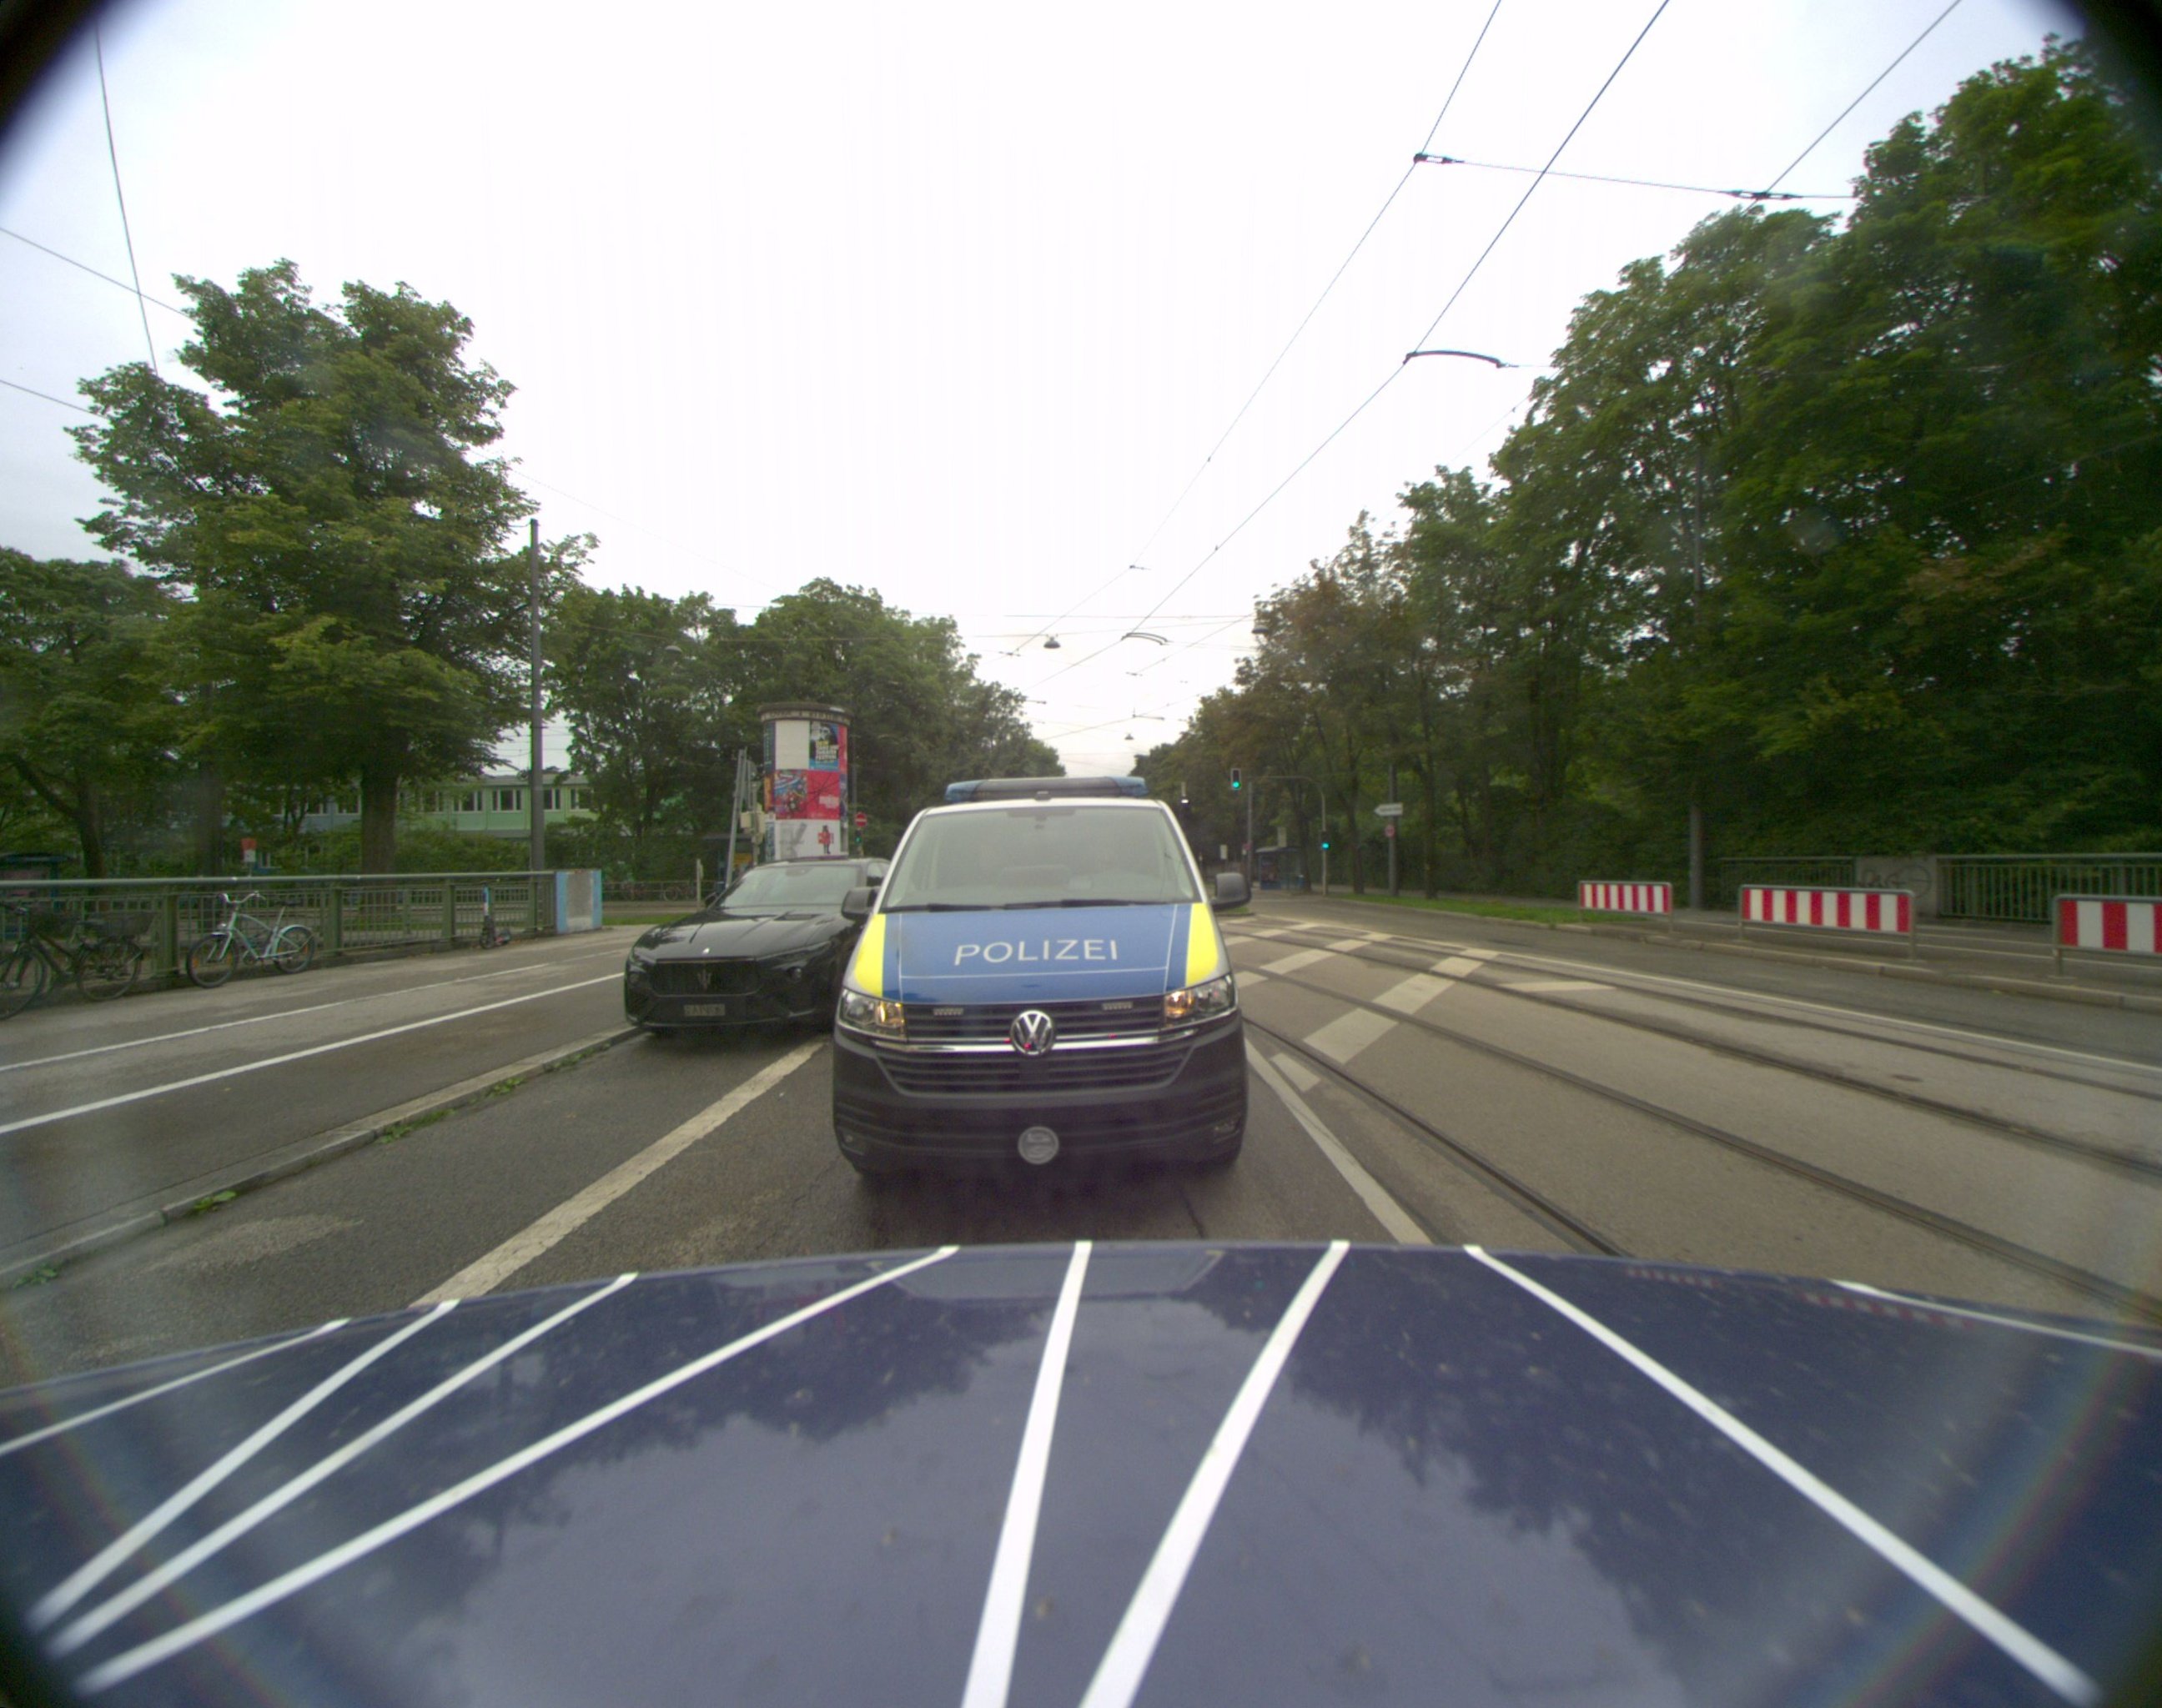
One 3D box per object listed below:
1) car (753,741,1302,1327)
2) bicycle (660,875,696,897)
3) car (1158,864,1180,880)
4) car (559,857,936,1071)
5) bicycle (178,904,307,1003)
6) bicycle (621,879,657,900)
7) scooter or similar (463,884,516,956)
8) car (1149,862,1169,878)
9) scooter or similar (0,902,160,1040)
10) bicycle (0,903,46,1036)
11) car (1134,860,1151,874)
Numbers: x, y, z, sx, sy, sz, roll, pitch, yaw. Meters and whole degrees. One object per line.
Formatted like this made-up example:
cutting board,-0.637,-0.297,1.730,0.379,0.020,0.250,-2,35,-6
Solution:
car,-0.226,0.626,5.528,1.903,2.041,5.708,-1,0,-1
bicycle,-18.801,1.491,35.454,1.483,0.946,0.373,-1,1,3
car,9.934,2.004,85.704,1.888,1.531,3.999,-3,0,-1
car,-3.062,0.886,8.285,1.905,1.600,4.665,-3,-1,1
bicycle,-10.751,1.234,9.802,0.265,1.076,1.540,-3,0,-14
bicycle,-20.773,1.674,35.740,1.483,0.946,0.373,-1,1,3
scooter or similar,-10.639,1.173,13.693,0.225,1.205,1.020,-3,1,-8
car,9.317,1.891,91.070,1.888,1.716,3.999,-3,0,-1
scooter or similar,-10.597,1.179,8.100,0.245,1.255,1.493,-3,0,-22
bicycle,-10.602,1.138,7.108,0.283,1.274,1.408,-3,0,-19
car,8.583,1.804,105.733,1.888,1.716,3.999,-3,0,-1
